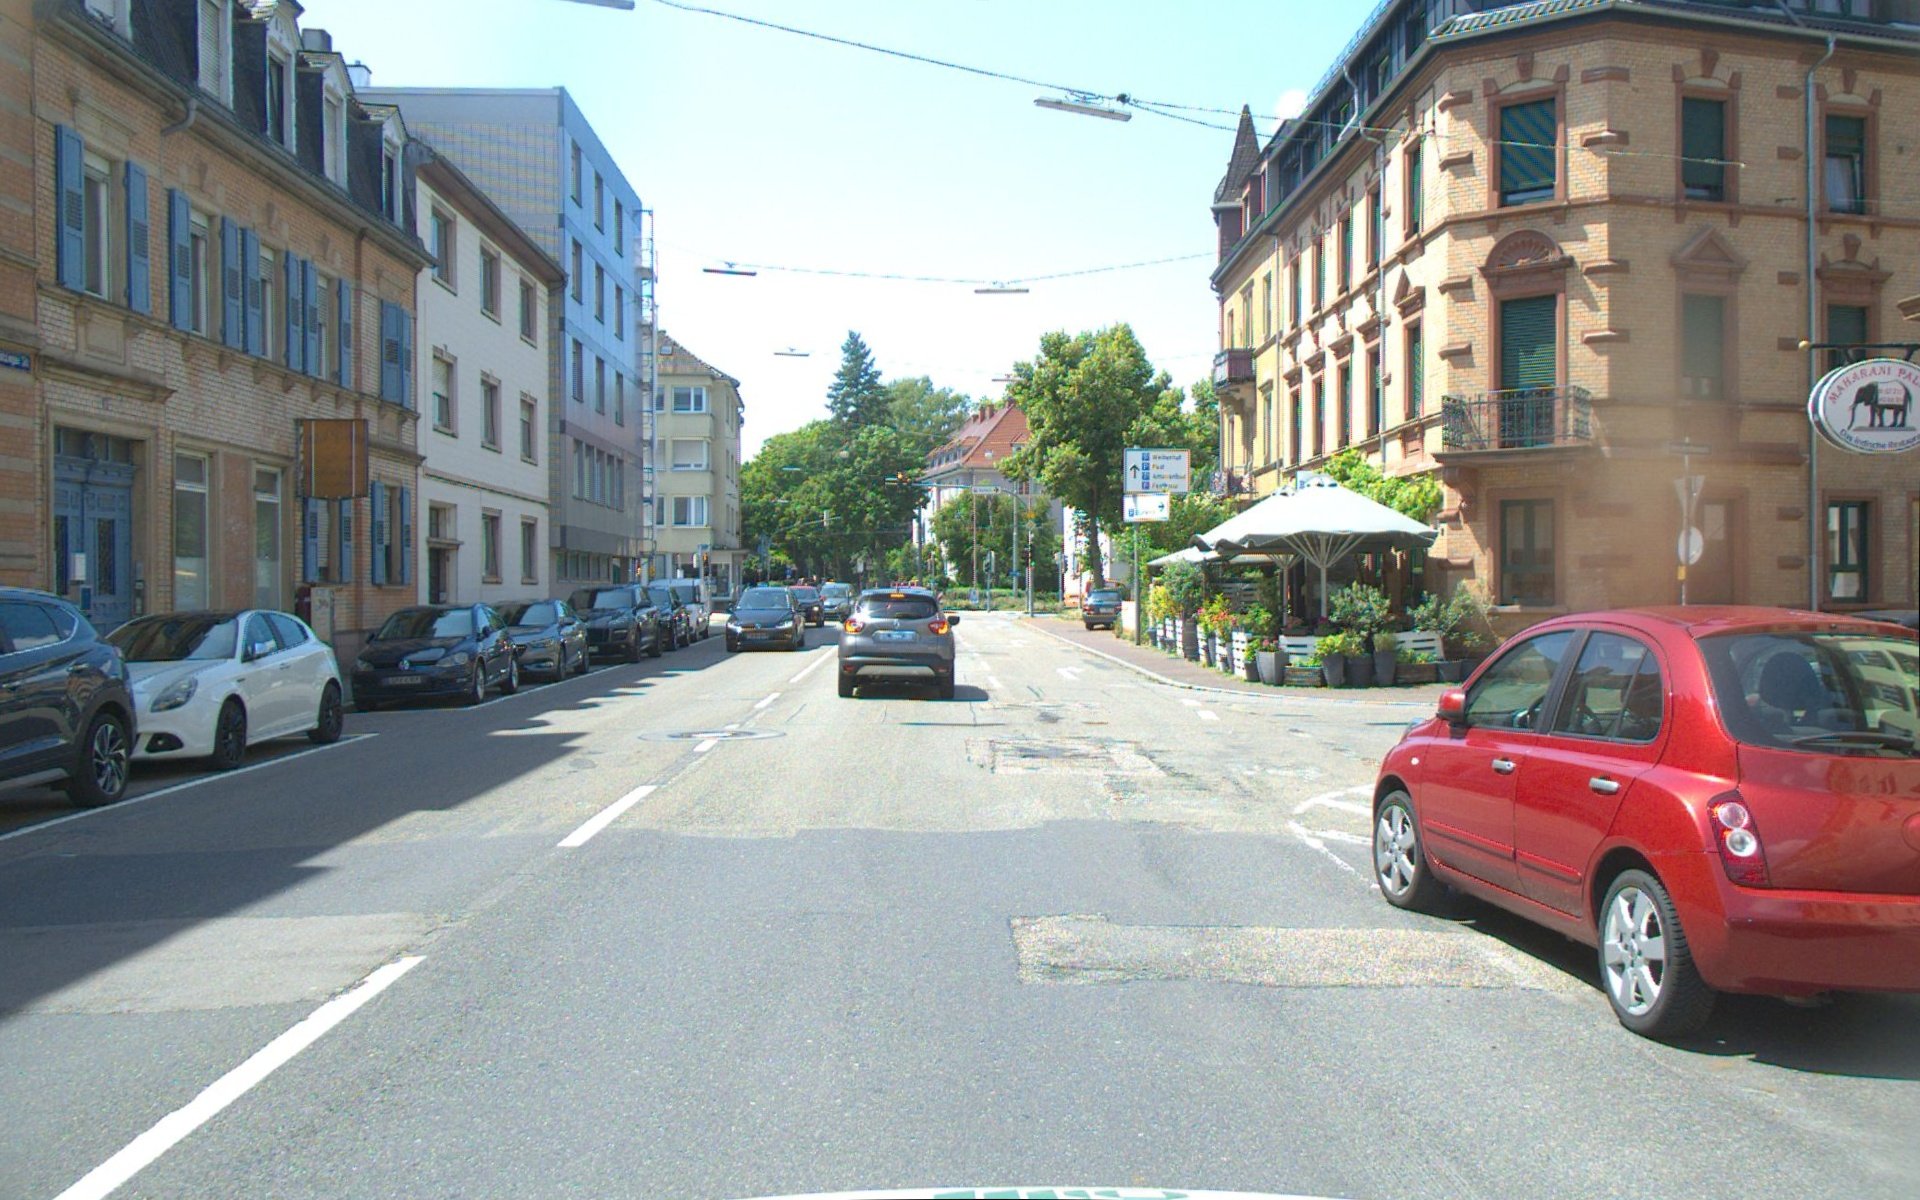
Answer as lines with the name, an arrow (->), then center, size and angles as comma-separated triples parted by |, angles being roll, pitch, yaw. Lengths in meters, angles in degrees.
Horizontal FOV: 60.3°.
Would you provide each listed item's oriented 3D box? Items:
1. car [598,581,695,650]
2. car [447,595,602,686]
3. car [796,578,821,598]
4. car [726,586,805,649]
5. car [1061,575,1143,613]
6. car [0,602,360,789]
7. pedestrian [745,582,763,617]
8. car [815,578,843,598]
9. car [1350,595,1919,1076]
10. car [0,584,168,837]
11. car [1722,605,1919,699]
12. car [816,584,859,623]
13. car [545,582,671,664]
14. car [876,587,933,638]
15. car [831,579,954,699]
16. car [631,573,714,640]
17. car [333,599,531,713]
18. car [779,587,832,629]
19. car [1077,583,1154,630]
car -> -8.123, 0.372, 43.247 | 1.847, 1.670, 4.660 | -1, 0, -3
car -> -7.890, 0.679, 30.391 | 1.828, 1.431, 4.833 | -4, 0, -4
car -> -15.192, -1.215, 165.664 | 1.960, 1.940, 3.985 | 1, 1, -14
car -> -4.958, 0.399, 42.636 | 1.725, 1.520, 4.243 | -1, 1, -3
car -> 7.611, -0.328, 88.442 | 4.466, 2.011, 1.968 | -1, 0, -43
car -> -7.512, 0.815, 16.092 | 1.827, 1.451, 4.329 | -4, 0, -2
pedestrian -> -11.844, -0.021, 94.925 | 0.919, 1.965, 0.973 | 0, 0, -14
car -> -12.084, -1.105, 152.595 | 1.960, 1.839, 3.985 | 1, 1, -14
car -> 3.155, 0.767, 7.205 | 1.723, 1.504, 3.780 | 2, 0, -5
car -> -7.239, 0.779, 11.050 | 1.828, 1.656, 4.498 | -4, 0, -3
car -> 14.488, 0.792, 26.374 | 3.917, 1.388, 1.911 | 0, 1, -13
car -> -5.343, 0.127, 72.553 | 1.667, 1.602, 4.311 | -1, 1, -1
car -> -7.808, 0.471, 37.102 | 1.846, 1.670, 4.816 | -1, 0, -1
car -> -1.806, 0.395, 54.843 | 1.762, 1.585, 4.037 | 1, 0, -1
car -> -0.984, 0.531, 25.442 | 1.718, 1.660, 3.999 | 1, 1, -1
car -> -8.550, 0.173, 49.527 | 1.876, 1.857, 4.785 | -1, 0, -3
car -> -7.766, 0.767, 24.742 | 1.829, 1.431, 4.326 | -4, 0, -5
car -> -5.778, 0.259, 62.128 | 1.667, 1.503, 4.132 | -1, 1, -1
car -> 5.889, 0.209, 62.073 | 1.796, 1.575, 5.159 | 0, 2, 18
